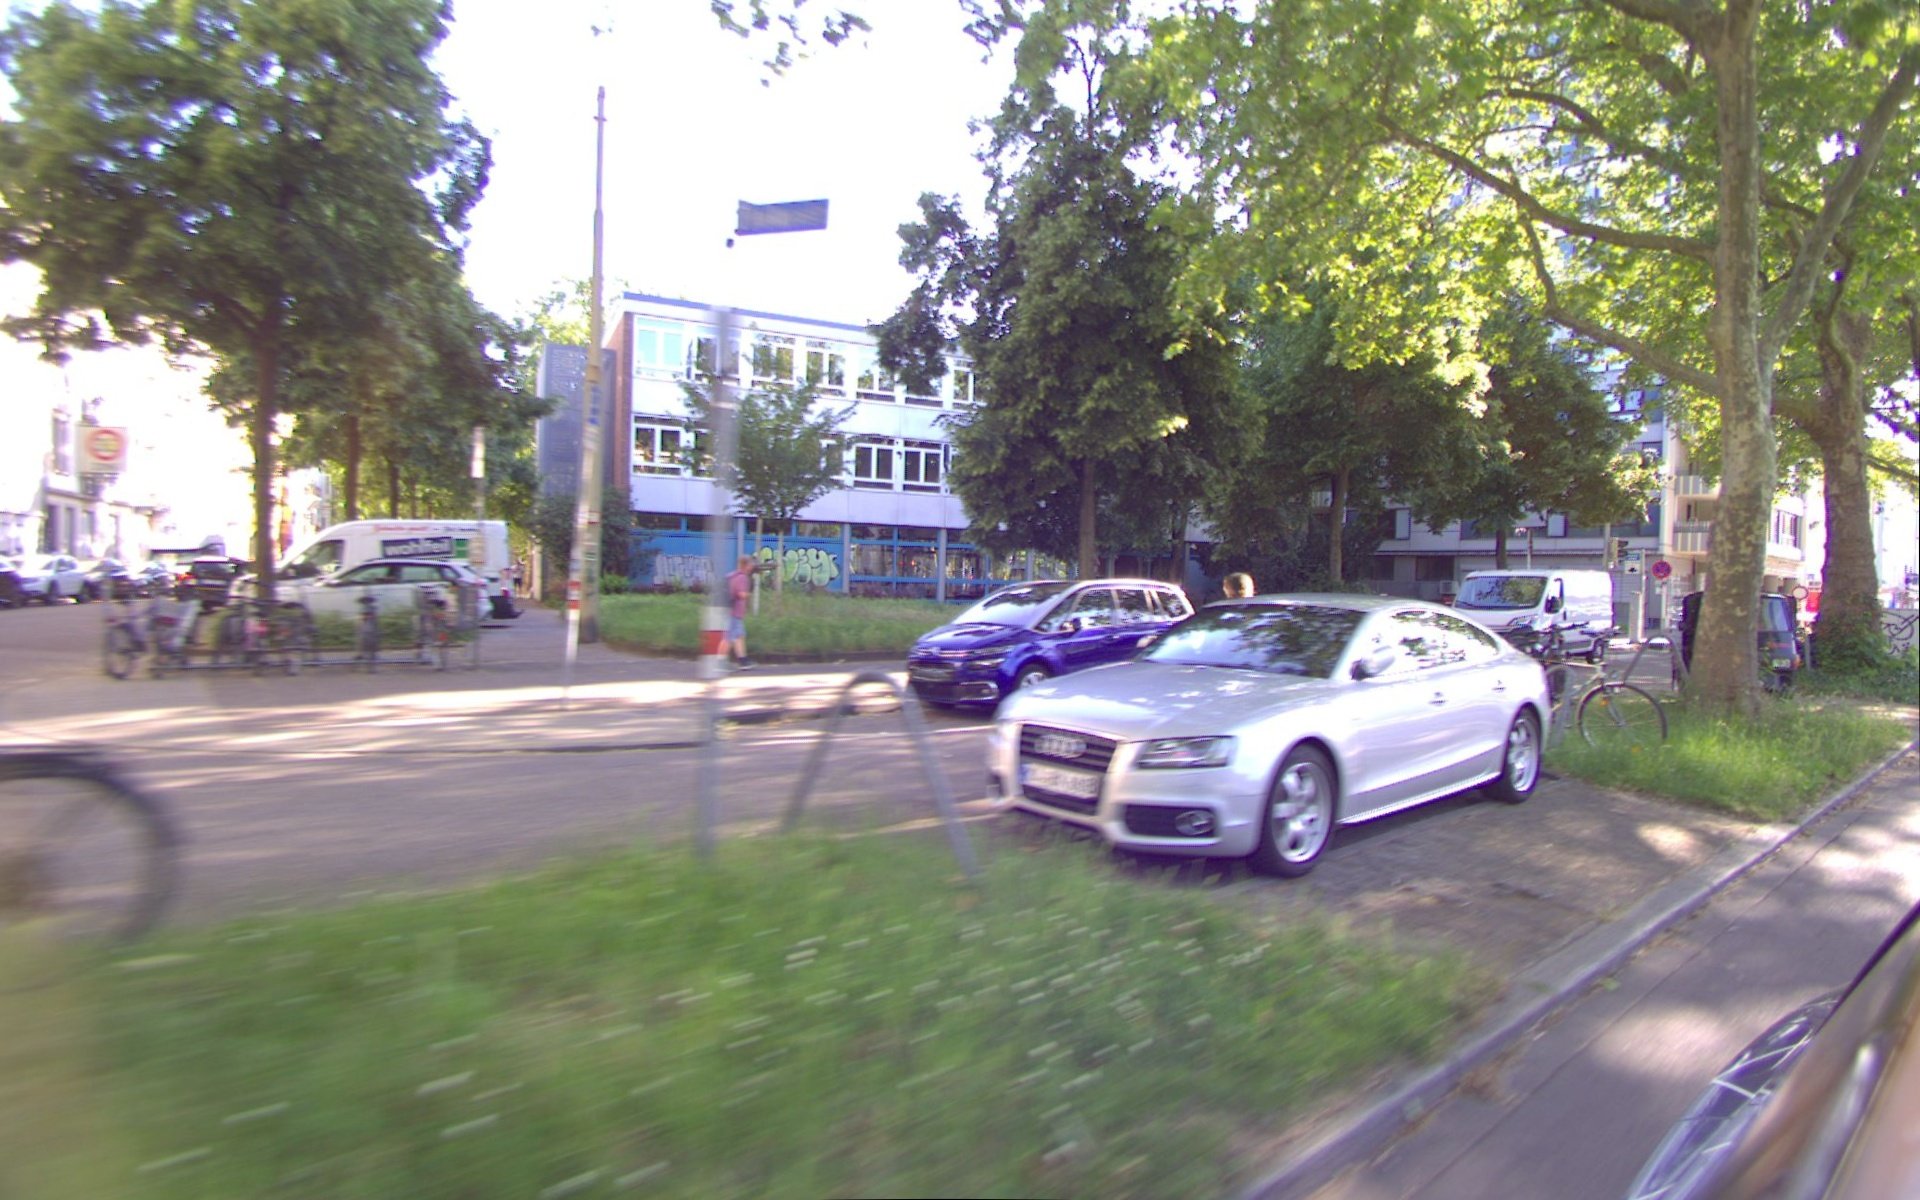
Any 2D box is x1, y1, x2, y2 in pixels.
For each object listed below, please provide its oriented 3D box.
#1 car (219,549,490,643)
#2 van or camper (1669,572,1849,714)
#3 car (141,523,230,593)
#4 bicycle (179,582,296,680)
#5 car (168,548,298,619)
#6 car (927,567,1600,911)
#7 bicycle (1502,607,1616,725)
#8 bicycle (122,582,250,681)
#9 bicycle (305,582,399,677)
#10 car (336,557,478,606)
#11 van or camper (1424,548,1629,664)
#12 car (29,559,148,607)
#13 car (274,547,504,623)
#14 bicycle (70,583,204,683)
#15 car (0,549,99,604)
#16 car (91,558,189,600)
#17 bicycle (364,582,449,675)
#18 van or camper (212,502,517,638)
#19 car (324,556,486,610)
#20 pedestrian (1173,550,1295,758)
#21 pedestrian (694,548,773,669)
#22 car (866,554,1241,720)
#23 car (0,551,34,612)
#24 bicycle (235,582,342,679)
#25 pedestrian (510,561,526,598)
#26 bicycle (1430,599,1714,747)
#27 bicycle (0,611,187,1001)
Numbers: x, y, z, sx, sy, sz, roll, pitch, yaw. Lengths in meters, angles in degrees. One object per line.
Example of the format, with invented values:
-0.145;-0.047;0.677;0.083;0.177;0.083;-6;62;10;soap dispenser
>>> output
-11.524;-0.077;19.656;4.299;1.648;2.004;1;1;-26;car
10.204;0.469;13.107;1.494;1.608;2.807;1;1;32;van or camper
-36.004;-1.921;47.203;2.057;3.023;5.520;1;1;-24;car
-9.066;0.348;12.784;0.497;1.117;2.150;1;1;-16;bicycle
-19.871;-0.470;27.891;1.958;1.648;4.398;4;0;-24;car
2.254;0.560;6.461;4.938;1.415;1.757;0;1;-41;car
6.327;0.634;10.650;0.756;1.092;1.860;1;1;39;bicycle
-9.596;0.348;12.634;0.497;1.117;2.150;1;1;-16;bicycle
-7.865;0.341;13.173;0.497;1.117;2.150;1;1;-16;bicycle
-19.486;-0.642;35.905;4.299;1.648;2.004;1;1;-26;car
12.993;0.092;23.022;5.721;2.315;2.295;0;1;-41;van or camper
-30.281;-0.601;35.327;1.958;1.556;4.404;1;1;-24;car
-13.622;-0.332;24.478;4.647;1.690;2.004;1;1;-26;car
-10.092;0.359;12.500;0.463;1.117;2.150;1;1;-16;bicycle
-28.173;-0.711;30.695;1.958;1.556;4.404;1;1;-24;car
-32.487;-0.825;40.231;1.958;1.556;4.404;1;1;-24;car
-7.284;0.336;13.399;0.497;1.117;2.202;1;1;-16;bicycle
-12.674;-0.590;22.057;5.472;2.669;2.158;1;1;-25;van or camper
-18.269;-0.550;33.556;4.557;1.648;2.004;1;1;-26;car
2.286;0.435;8.457;0.700;1.632;0.688;1;-2;-40;pedestrian
-3.242;0.121;14.502;0.887;1.672;0.682;1;0;-34;pedestrian
1.387;0.374;13.103;5.077;1.763;1.823;0;1;-41;car
-25.698;-0.488;25.686;1.958;1.556;4.404;1;1;-24;car
-8.533;0.341;12.944;0.497;1.117;2.150;1;1;-16;bicycle
-19.967;-0.931;45.706;0.622;1.620;0.675;1;1;-25;pedestrian
5.434;0.581;9.115;0.665;1.138;2.073;0;1;-41;bicycle
-3.093;0.510;2.269;2.127;0.937;0.640;0;1;-41;bicycle
